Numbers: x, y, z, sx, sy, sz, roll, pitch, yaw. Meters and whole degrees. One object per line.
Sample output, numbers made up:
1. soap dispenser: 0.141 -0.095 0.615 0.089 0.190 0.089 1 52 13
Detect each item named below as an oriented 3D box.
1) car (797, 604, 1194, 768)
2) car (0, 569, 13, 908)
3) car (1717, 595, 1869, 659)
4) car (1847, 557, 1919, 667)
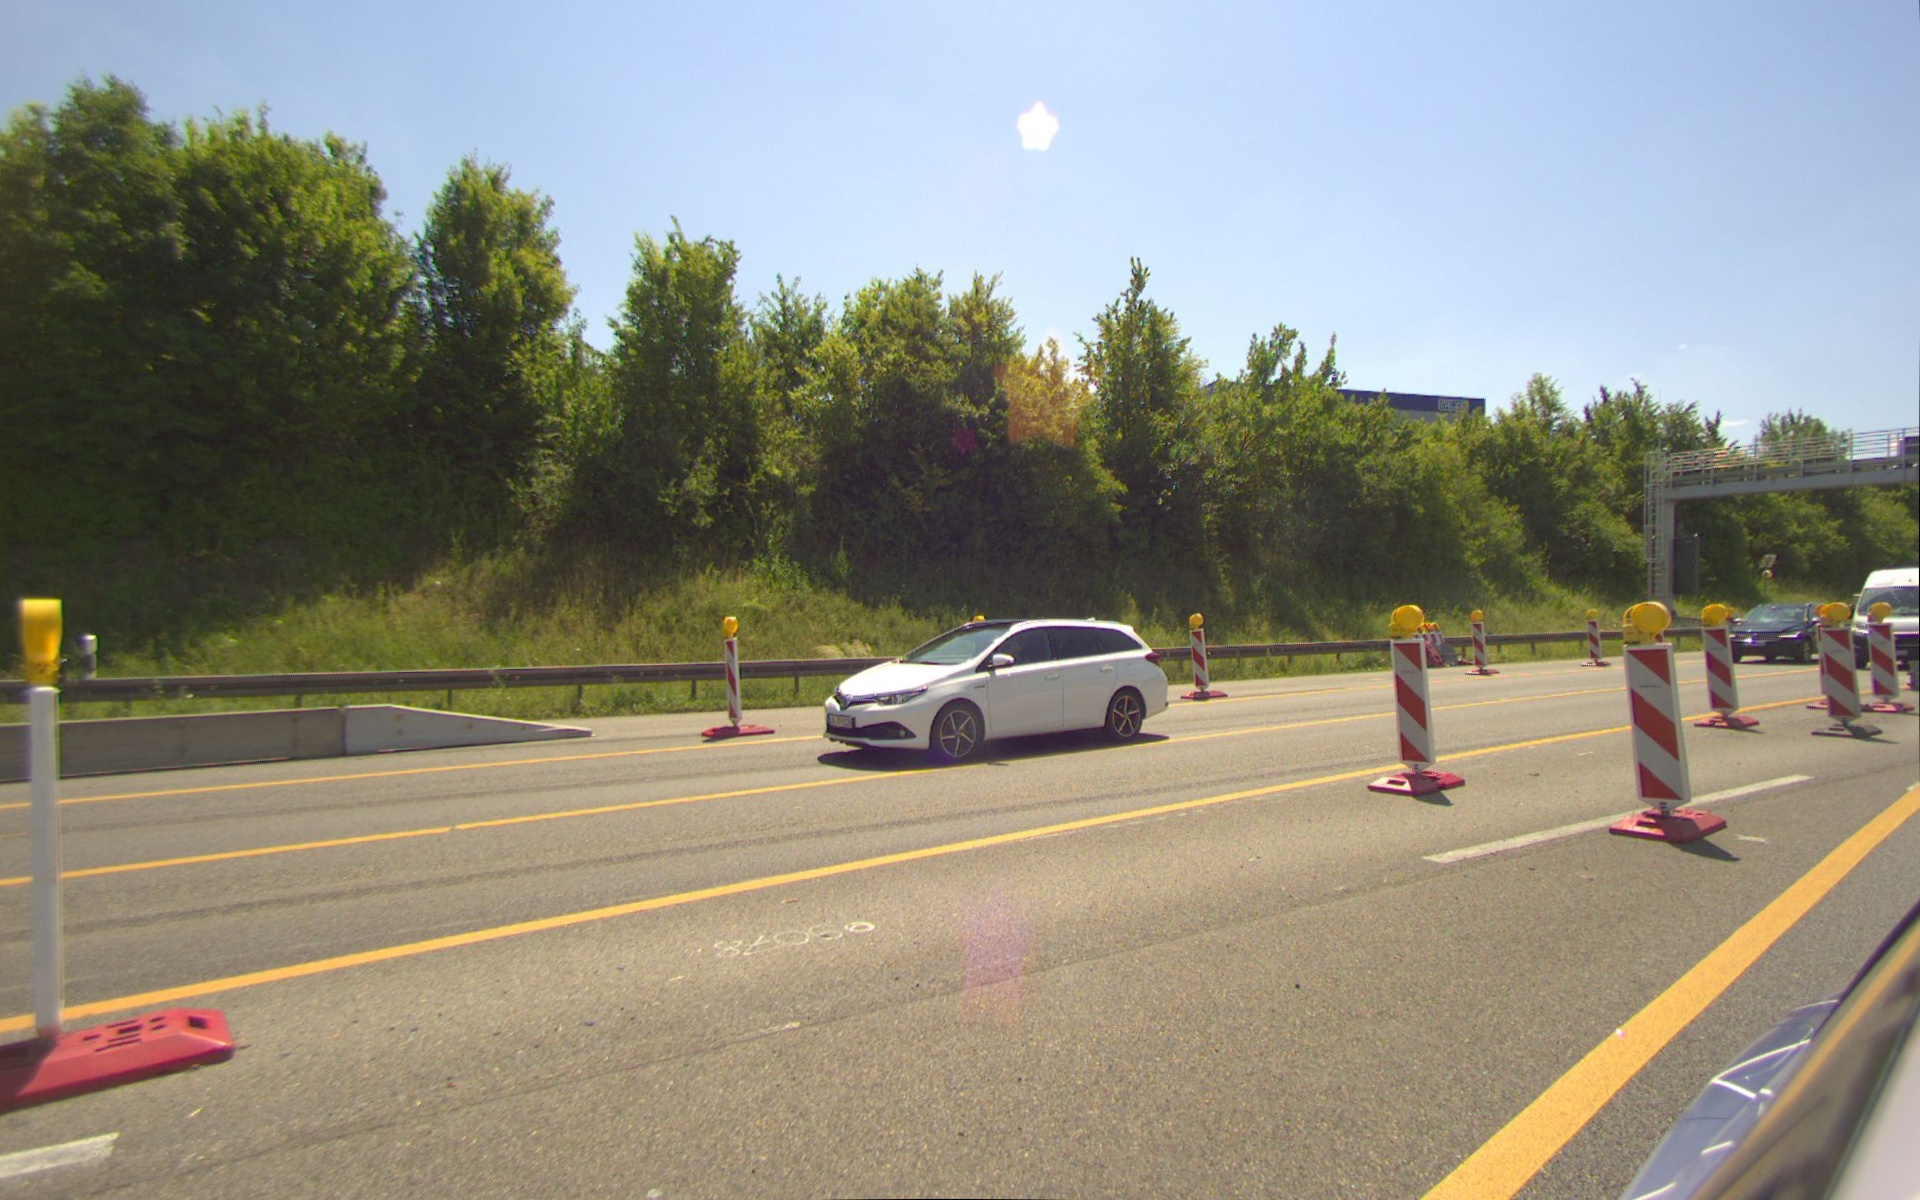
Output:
1. car: 0.544 0.869 12.024 4.567 1.483 1.819 -2 -1 -37
2. car: -6.207 0.681 3.176 4.568 1.663 1.819 0 -1 -39
3. car: 23.707 0.709 28.750 5.138 1.684 2.025 0 0 -35
4. car: 24.988 0.267 25.658 6.460 2.568 2.273 0 -1 -35
